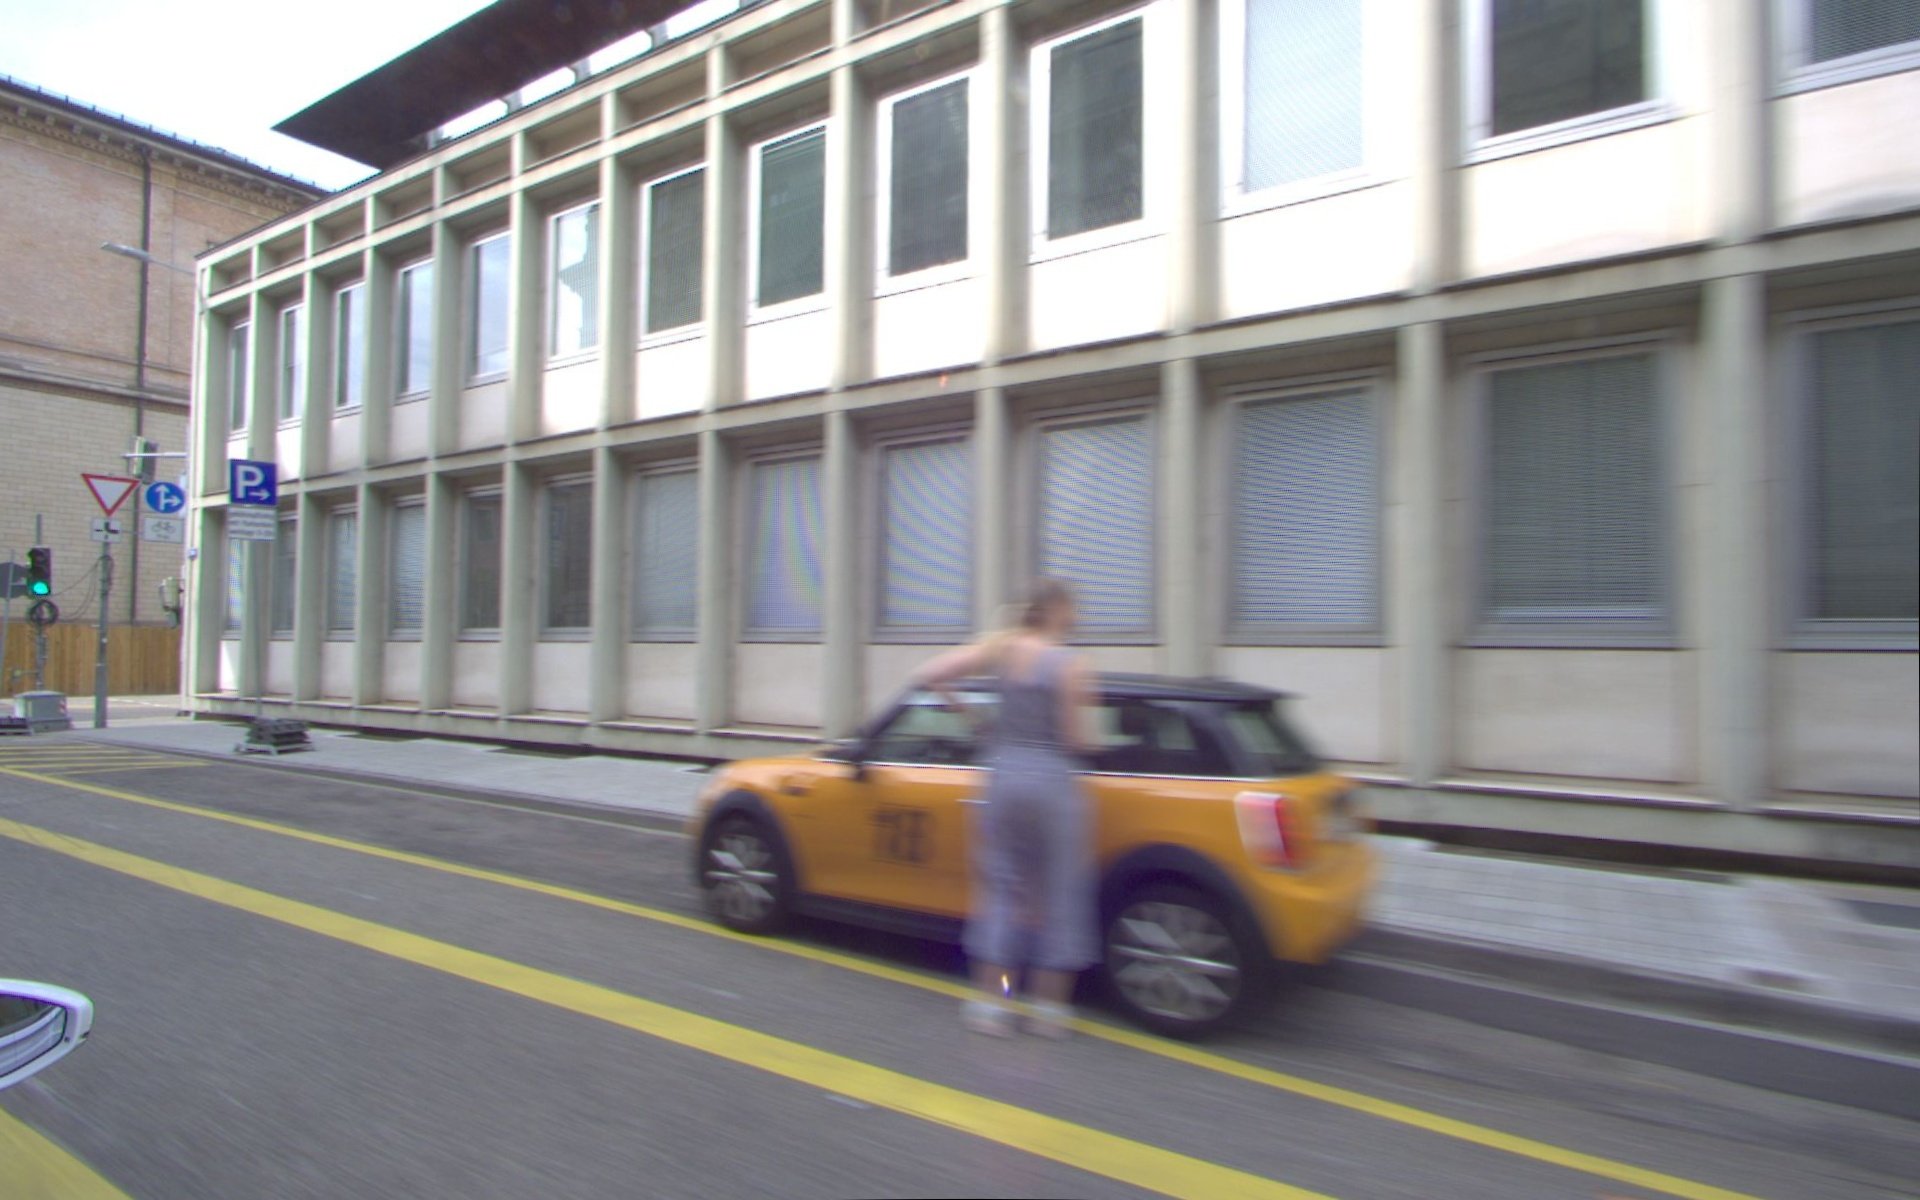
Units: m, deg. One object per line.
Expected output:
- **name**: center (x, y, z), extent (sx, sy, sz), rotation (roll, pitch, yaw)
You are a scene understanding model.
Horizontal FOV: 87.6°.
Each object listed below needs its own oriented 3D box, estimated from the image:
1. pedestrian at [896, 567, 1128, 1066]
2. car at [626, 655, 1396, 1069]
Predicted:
- **pedestrian**: center (0.227, 0.798, 4.094), extent (0.696, 1.786, 0.696), rotation (-1, -2, 33)
- **car**: center (0.148, 1.084, 5.421), extent (3.834, 1.451, 1.678), rotation (-1, -6, 34)
